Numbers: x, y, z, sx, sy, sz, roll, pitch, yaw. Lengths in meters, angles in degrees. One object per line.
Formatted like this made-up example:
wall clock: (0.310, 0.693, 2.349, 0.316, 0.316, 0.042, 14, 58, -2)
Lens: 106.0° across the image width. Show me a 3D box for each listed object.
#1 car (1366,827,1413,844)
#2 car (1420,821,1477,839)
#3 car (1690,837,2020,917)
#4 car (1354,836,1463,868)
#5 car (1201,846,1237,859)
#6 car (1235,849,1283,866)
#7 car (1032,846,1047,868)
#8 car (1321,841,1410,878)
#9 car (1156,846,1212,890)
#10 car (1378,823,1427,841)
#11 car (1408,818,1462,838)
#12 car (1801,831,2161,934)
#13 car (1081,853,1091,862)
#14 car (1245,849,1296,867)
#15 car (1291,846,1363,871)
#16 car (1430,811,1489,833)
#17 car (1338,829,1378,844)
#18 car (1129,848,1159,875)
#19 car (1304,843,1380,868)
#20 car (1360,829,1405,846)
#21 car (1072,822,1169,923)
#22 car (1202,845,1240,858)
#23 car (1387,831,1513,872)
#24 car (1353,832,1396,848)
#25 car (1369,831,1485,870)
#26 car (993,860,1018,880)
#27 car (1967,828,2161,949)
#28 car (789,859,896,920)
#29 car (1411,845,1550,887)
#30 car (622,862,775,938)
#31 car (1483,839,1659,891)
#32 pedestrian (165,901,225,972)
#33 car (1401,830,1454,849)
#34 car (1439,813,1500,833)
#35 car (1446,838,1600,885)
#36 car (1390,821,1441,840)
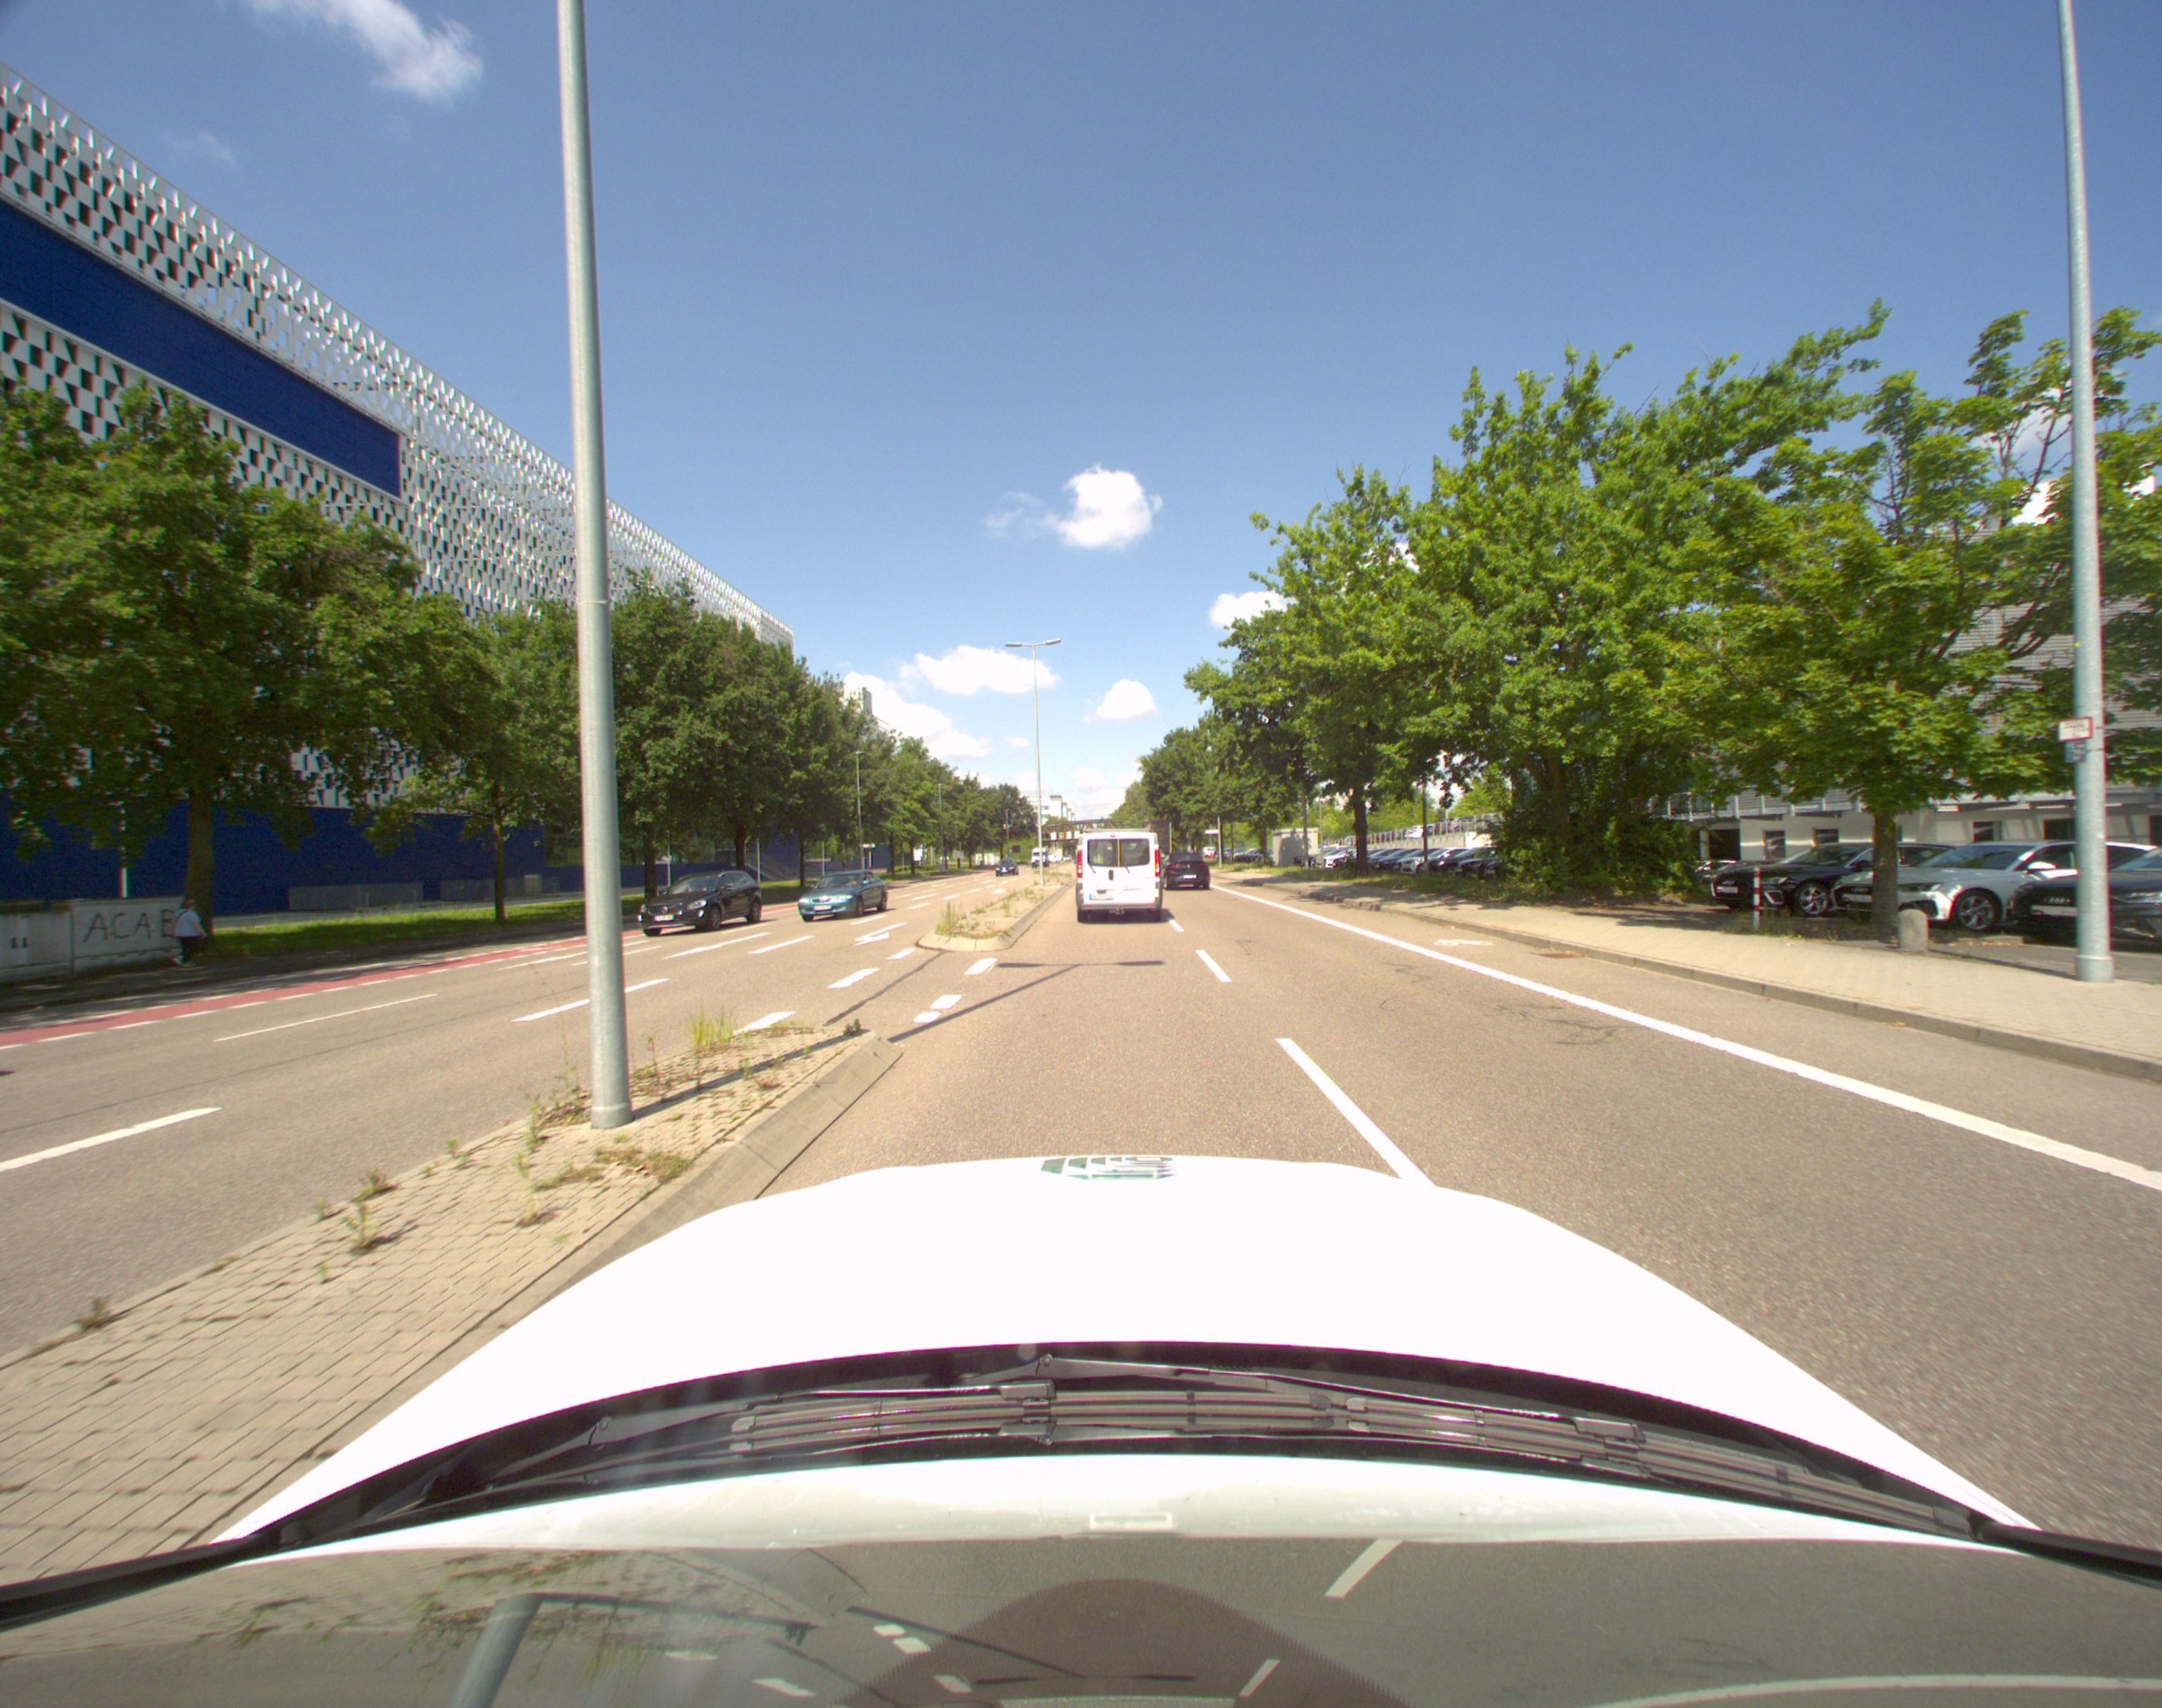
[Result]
car: (32.878, -1.977, 86.856, 4.335, 1.774, 1.939, -1, 2, 4)
car: (33.407, -2.154, 74.055, 4.335, 1.551, 1.939, -1, 2, 4)
car: (14.782, 0.400, 15.773, 4.558, 1.404, 1.908, 0, 2, 1)
car: (15.998, -0.119, 39.939, 4.558, 1.404, 1.908, -1, 2, 1)
car: (17.743, -0.185, 104.622, 4.341, 1.512, 1.936, -1, 2, 0)
car: (17.551, 0.356, 80.564, 4.341, 1.512, 1.936, -1, 2, 0)
car: (-5.756, 0.453, 113.201, 2.018, 2.893, 6.376, -2, 0, -3)
car: (16.520, 0.294, 47.448, 4.558, 2.049, 1.908, -1, 1, 1)
car: (4.152, 0.510, 33.380, 1.768, 1.629, 4.000, -1, 1, 0)
car: (33.240, -2.268, 84.370, 4.335, 1.774, 1.939, -1, 2, 4)
car: (33.272, -2.413, 76.635, 4.335, 1.774, 1.939, -1, 2, 4)
car: (14.574, 0.401, 12.923, 4.558, 1.404, 1.908, 2, 2, 1)
car: (1.149, 0.768, 187.876, 1.985, 1.771, 4.003, -1, 2, 3)
car: (17.491, 0.396, 75.248, 4.341, 1.512, 1.936, -1, 2, 0)
car: (16.773, 0.323, 55.646, 4.338, 1.513, 1.856, -2, 0, 1)
car: (33.175, -2.808, 71.451, 4.335, 1.774, 1.939, -1, 2, 4)
car: (34.089, -2.128, 100.421, 4.335, 1.774, 1.939, -1, 2, 4)
car: (4.038, 0.451, 52.653, 1.766, 1.629, 4.004, -1, 1, 3)
car: (16.047, 0.094, 50.232, 4.092, 1.404, 1.818, -2, 0, 1)
car: (33.180, -1.790, 89.617, 4.335, 1.774, 1.939, -1, 2, 4)
car: (0.944, 0.346, 19.275, 1.965, 2.059, 4.568, -1, 1, 3)
car: (17.409, -0.299, 101.208, 4.341, 1.512, 1.936, -1, 2, 0)
car: (15.819, -0.130, 35.067, 4.558, 1.678, 1.908, -1, 2, 1)
car: (34.186, -1.613, 94.965, 4.335, 1.774, 1.939, -1, 2, 4)
car: (15.873, -0.202, 37.484, 4.558, 1.678, 1.908, -1, 2, 1)
car: (-6.871, 1.446, 74.392, 1.733, 1.610, 4.239, -5, 0, -1)
car: (14.443, 0.394, 10.211, 4.558, 1.383, 1.908, 1, 2, 1)
car: (-7.261, 1.023, 25.378, 1.767, 1.548, 4.821, -4, 0, 0)
car: (15.771, 0.469, 32.312, 4.558, 1.499, 1.907, -2, 0, 1)
car: (-10.712, 1.197, 23.262, 1.921, 1.755, 4.821, -4, 0, 0)
car: (15.872, 0.357, 26.545, 4.558, 1.499, 1.907, -2, 0, 1)
pedestrian: (-20.412, 1.889, 18.765, 0.501, 1.555, 0.761, -2, 0, 1)
car: (33.531, -1.402, 78.928, 4.335, 1.774, 1.939, -1, 2, 4)
car: (32.931, -2.607, 69.121, 4.335, 1.551, 1.939, -1, 2, 4)
car: (16.046, 0.272, 29.755, 4.558, 1.499, 1.907, -2, 0, 1)
car: (33.472, -2.369, 81.553, 4.335, 1.774, 1.939, -1, 2, 4)
